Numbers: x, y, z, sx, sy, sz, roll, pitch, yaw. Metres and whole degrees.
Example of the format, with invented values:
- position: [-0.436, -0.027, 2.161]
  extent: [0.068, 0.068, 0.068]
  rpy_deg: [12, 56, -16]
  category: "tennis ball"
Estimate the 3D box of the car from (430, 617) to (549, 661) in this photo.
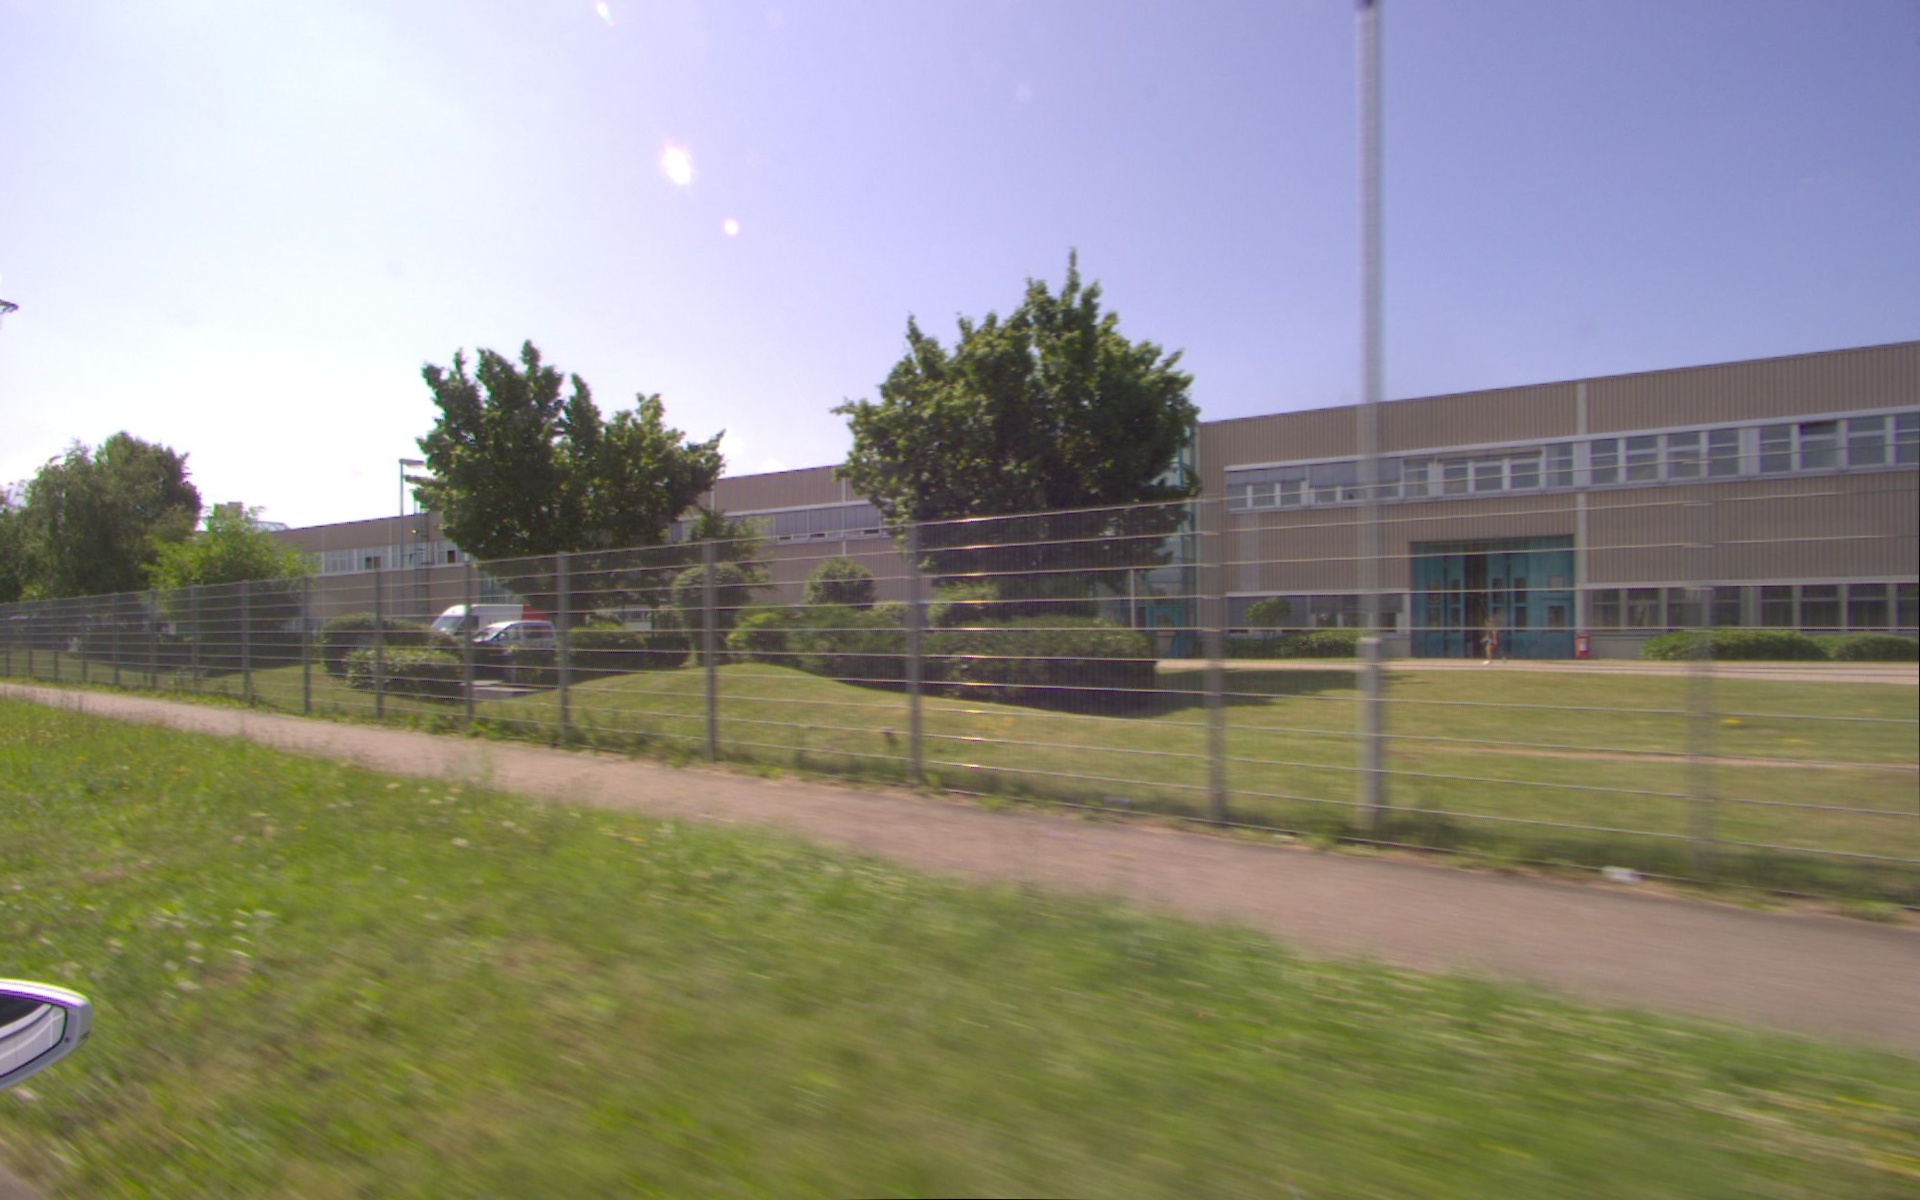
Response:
- position: [-18.977, 1.555, 40.545]
  extent: [1.970, 1.661, 3.983]
  rpy_deg: [-1, -2, 29]
  category: "car"

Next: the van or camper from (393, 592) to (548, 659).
- position: [-20.648, 1.153, 42.560]
  extent: [1.970, 2.549, 5.770]
  rpy_deg: [-1, -4, 29]
  category: "van or camper"

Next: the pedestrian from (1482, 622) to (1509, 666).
- position: [17.489, 1.433, 32.698]
  extent: [0.720, 1.409, 0.513]
  rpy_deg: [-1, -1, 32]
  category: "pedestrian"
